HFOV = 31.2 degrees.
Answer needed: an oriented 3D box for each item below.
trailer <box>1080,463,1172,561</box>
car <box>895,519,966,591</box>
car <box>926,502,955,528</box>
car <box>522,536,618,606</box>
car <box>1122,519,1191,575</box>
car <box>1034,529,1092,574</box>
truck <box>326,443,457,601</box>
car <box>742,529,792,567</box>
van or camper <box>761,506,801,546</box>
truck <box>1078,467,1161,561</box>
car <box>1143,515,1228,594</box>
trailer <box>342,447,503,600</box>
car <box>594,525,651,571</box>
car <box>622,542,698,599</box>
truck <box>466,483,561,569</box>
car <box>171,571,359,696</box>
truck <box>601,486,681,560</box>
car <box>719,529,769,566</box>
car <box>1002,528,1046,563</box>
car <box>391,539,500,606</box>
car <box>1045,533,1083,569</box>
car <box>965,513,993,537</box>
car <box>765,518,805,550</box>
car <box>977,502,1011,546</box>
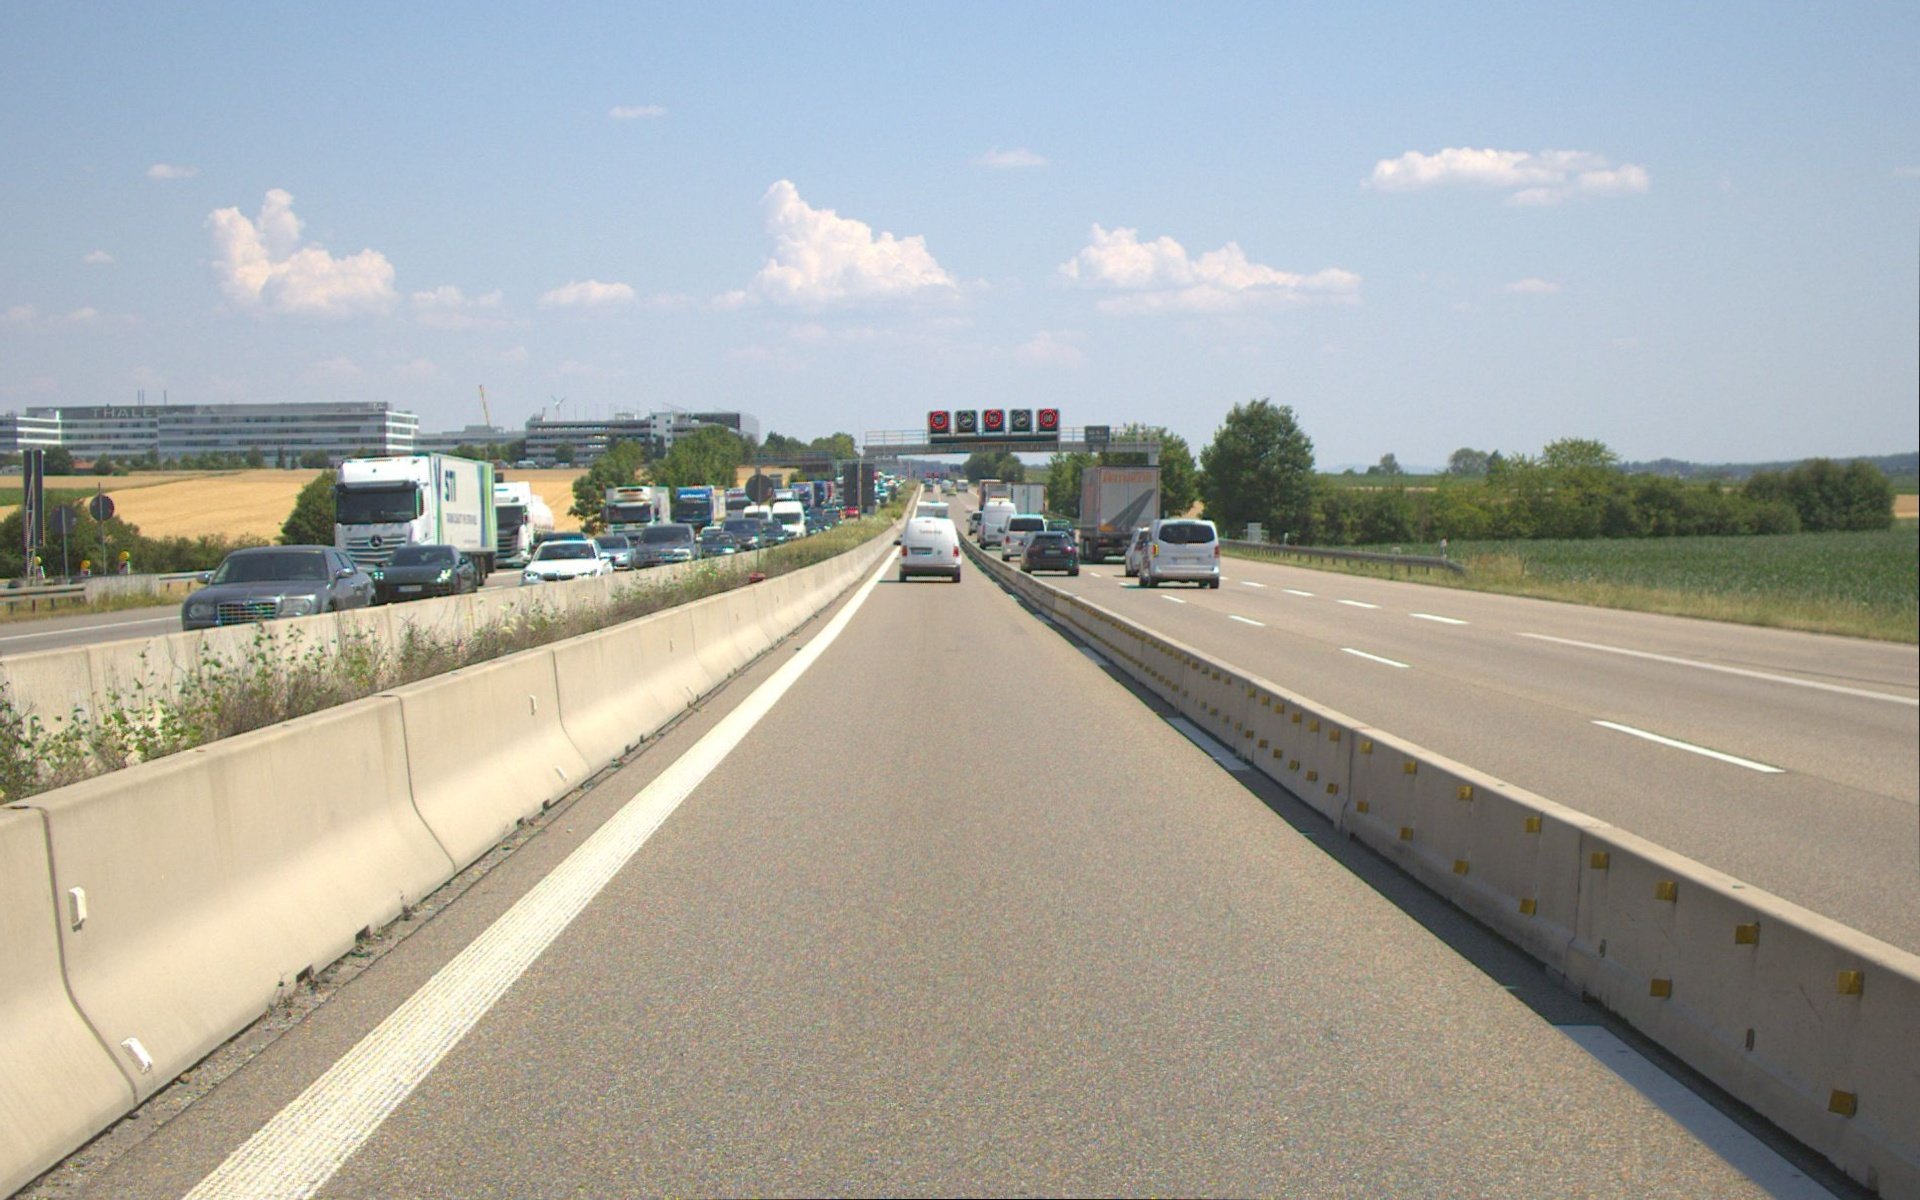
[{"bbox_3d":[6.873,-3.626,143.694,3.277,3.953,9.113,0,1,-1],"label":"trailer"},{"bbox_3d":[-0.848,-1.290,98.391,1.993,2.007,4.000,0,1,-1],"label":"car"},{"bbox_3d":[-1.391,-6.049,245.479,1.993,1.829,4.000,0,1,0],"label":"car"},{"bbox_3d":[-8.729,-0.664,77.184,1.674,1.514,4.508,0,1,-1],"label":"car"},{"bbox_3d":[6.412,-1.735,112.504,1.993,1.787,4.000,0,1,-1],"label":"car"},{"bbox_3d":[3.372,-1.597,113.106,1.773,1.442,4.000,0,1,-1],"label":"car"},{"bbox_3d":[-16.414,-2.250,99.575,2.870,4.360,4.903,-2,1,-1],"label":"truck"},{"bbox_3d":[-8.219,-2.220,146.799,1.843,1.564,5.345,0,1,0],"label":"car"},{"bbox_3d":[-10.337,-4.310,199.169,2.035,2.214,7.209,1,1,-1],"label":"van or camper"},{"bbox_3d":[6.823,-3.667,147.938,3.271,3.953,4.913,0,1,-1],"label":"truck"},{"bbox_3d":[6.112,-1.237,93.488,1.993,2.112,4.000,0,1,-1],"label":"car"},{"bbox_3d":[-16.494,-2.356,106.473,2.892,4.360,12.994,-2,1,-1],"label":"trailer"},{"bbox_3d":[-12.357,-1.924,126.096,1.655,1.646,4.665,0,1,0],"label":"car"},{"bbox_3d":[-8.817,-0.885,101.384,1.890,1.611,4.821,0,1,-1],"label":"car"},{"bbox_3d":[-21.217,-3.542,164.015,2.899,3.763,13.290,-3,1,-1],"label":"truck"},{"bbox_3d":[-8.938,0.402,44.470,1.655,1.514,4.000,0,1,-1],"label":"car"},{"bbox_3d":[-16.596,-4.028,179.697,2.795,3.597,13.289,-2,1,0],"label":"truck"},{"bbox_3d":[-8.255,-2.027,131.769,1.655,1.347,4.267,0,1,0],"label":"car"},{"bbox_3d":[2.732,-2.332,146.928,1.773,1.442,4.000,0,1,-1],"label":"car"},{"bbox_3d":[-11.779,-0.651,79.026,1.812,1.481,4.963,0,1,-1],"label":"car"},{"bbox_3d":[5.874,-2.801,195.142,1.993,2.007,4.000,0,1,-1],"label":"car"},{"bbox_3d":[1.416,-5.645,258.831,1.993,1.829,4.000,0,1,0],"label":"car"},{"bbox_3d":[-8.655,-3.290,170.527,1.782,1.584,4.541,0,1,0],"label":"car"},{"bbox_3d":[1.840,-4.128,187.764,1.773,2.384,4.000,0,1,-1],"label":"car"}]
